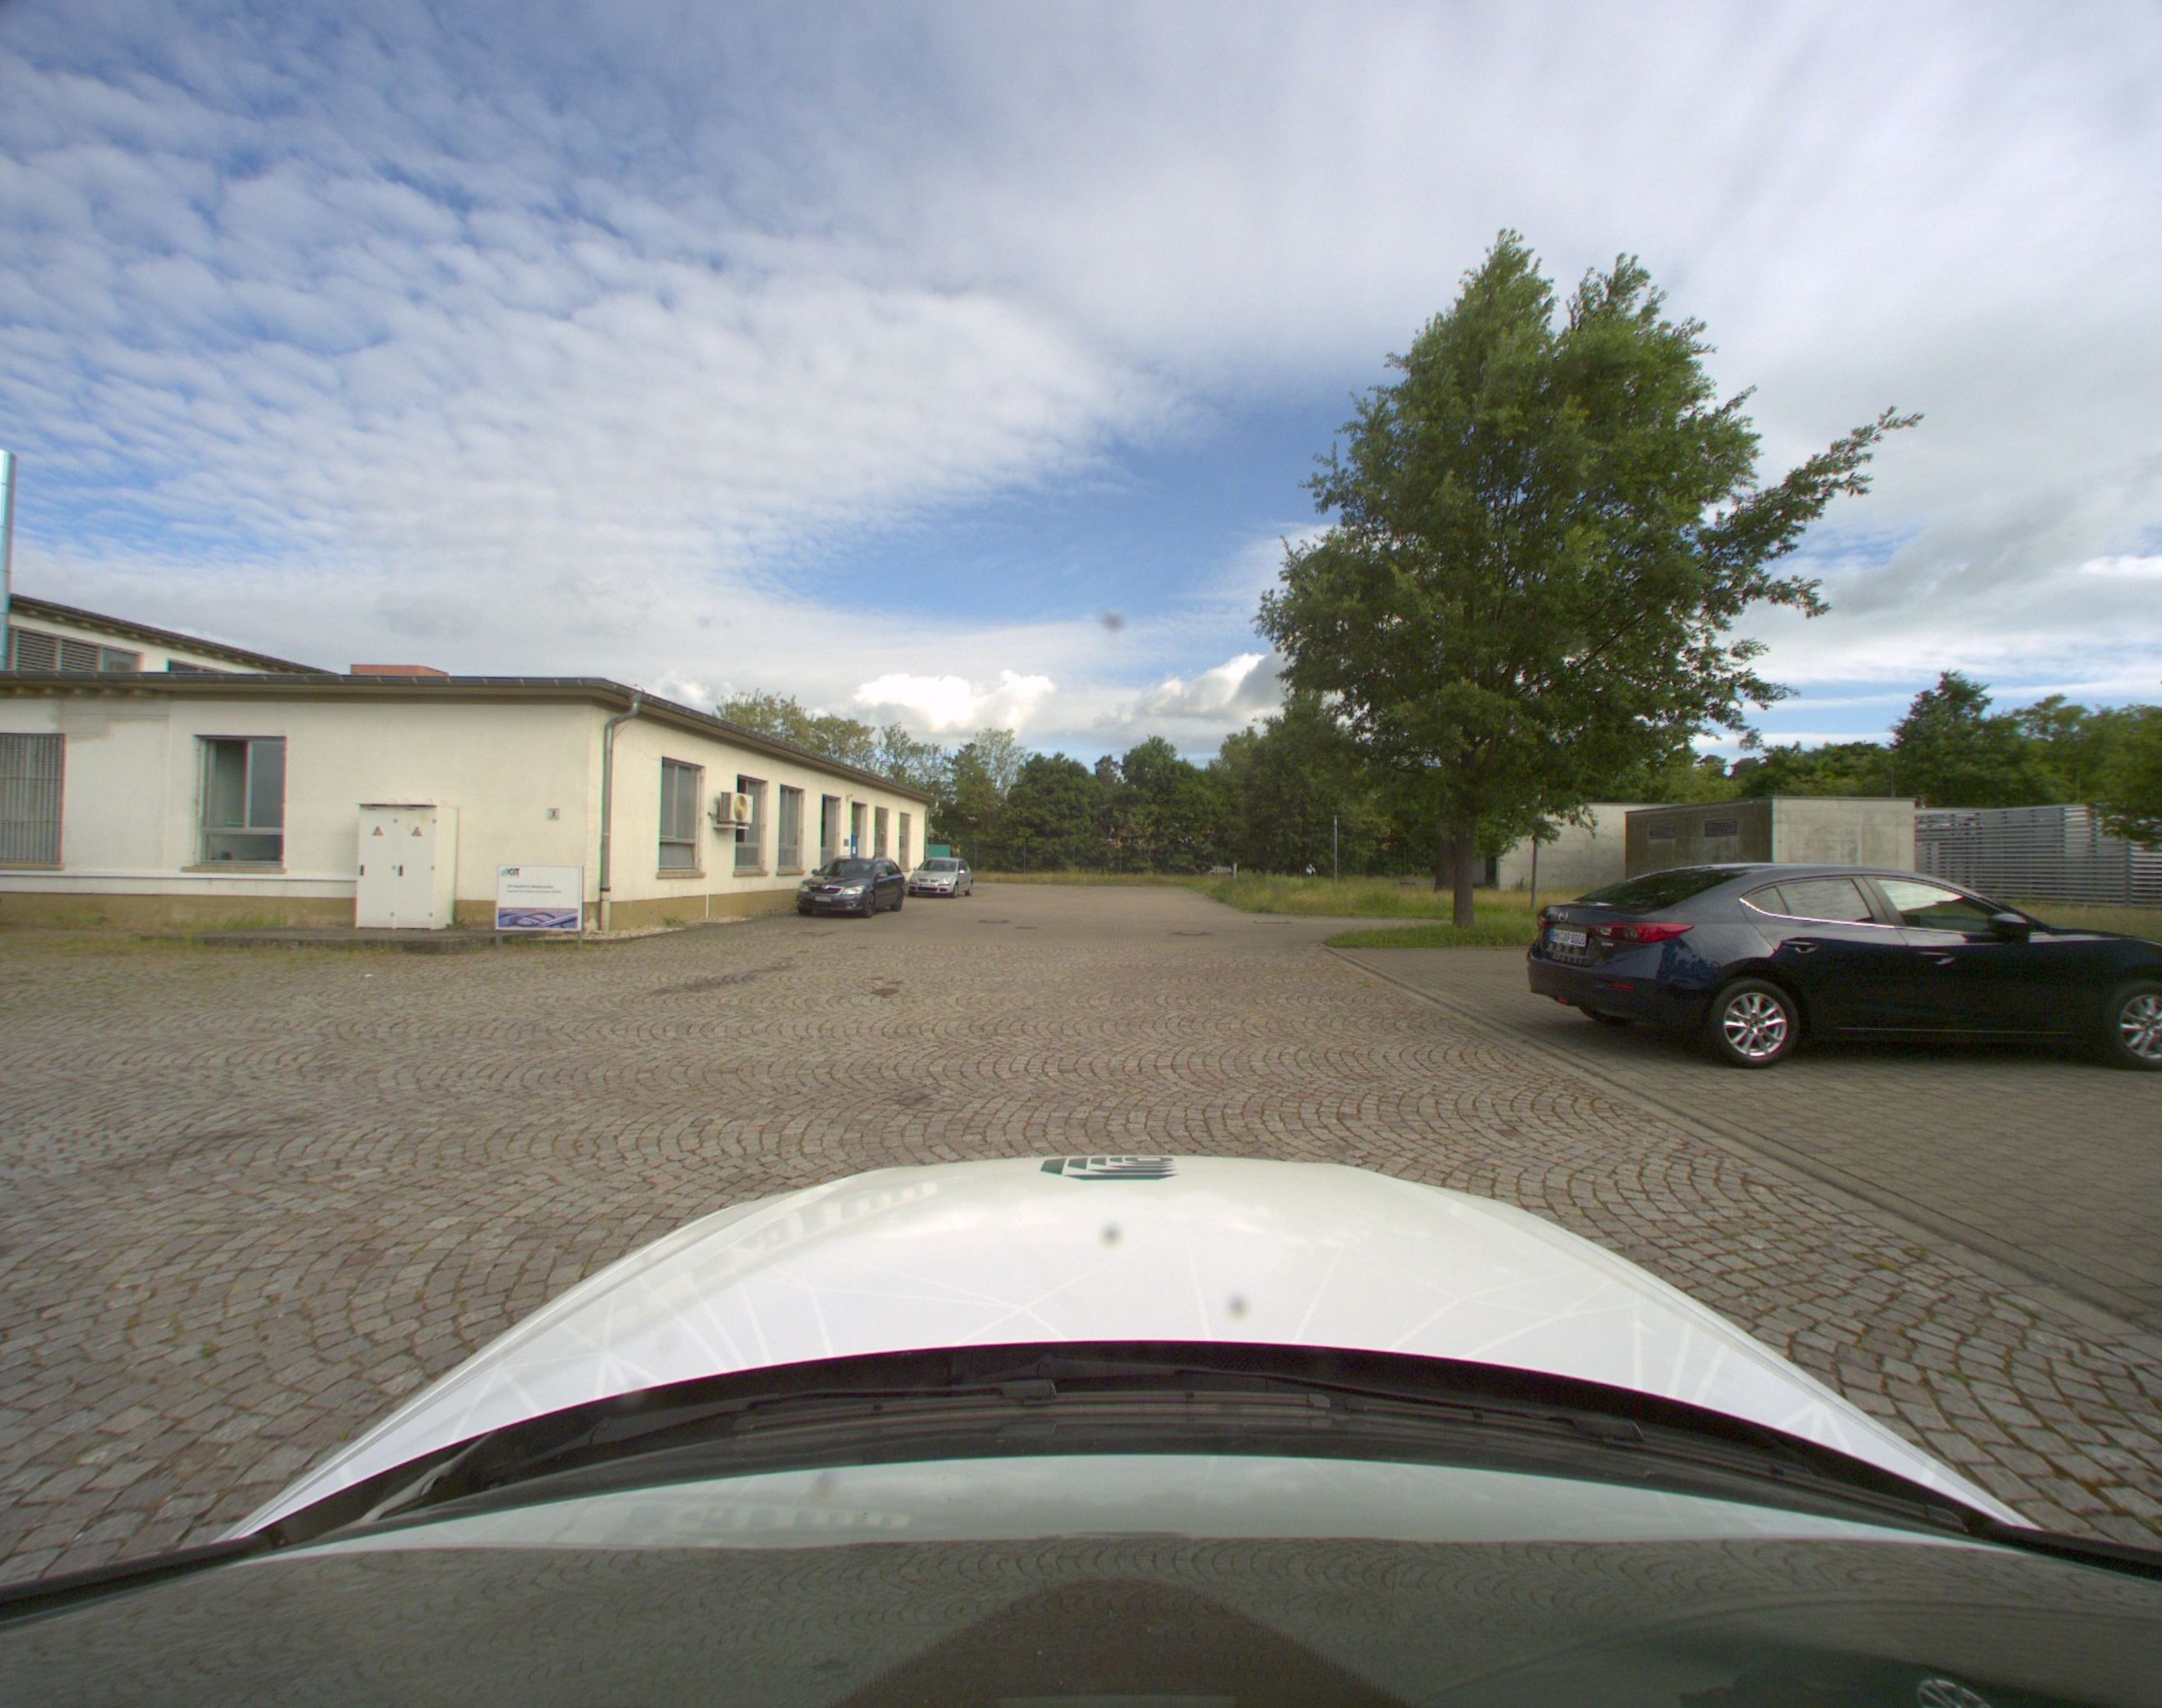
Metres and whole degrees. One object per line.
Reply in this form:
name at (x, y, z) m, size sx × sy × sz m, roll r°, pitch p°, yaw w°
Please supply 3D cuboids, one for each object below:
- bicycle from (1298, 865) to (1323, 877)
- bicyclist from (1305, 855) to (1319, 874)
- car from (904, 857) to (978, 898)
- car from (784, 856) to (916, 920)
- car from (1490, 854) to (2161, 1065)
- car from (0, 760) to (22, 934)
bicycle at (15.372, 1.116, 54.526) m, size 1.510 × 0.791 × 0.588 m, roll 1°, pitch -1°, yaw 2°
bicyclist at (15.470, 0.697, 54.520) m, size 0.766 × 1.206 × 0.588 m, roll 1°, pitch -1°, yaw 3°
car at (-5.274, 0.843, 31.196) m, size 1.917 × 1.439 × 4.370 m, roll 1°, pitch 0°, yaw 2°
car at (-5.869, 0.804, 21.383) m, size 1.917 × 1.461 × 4.813 m, roll 1°, pitch 0°, yaw 2°
car at (6.041, 0.749, 6.640) m, size 4.445 × 1.447 × 1.945 m, roll -1°, pitch -1°, yaw 2°
car at (-17.283, -0.103, 9.699) m, size 1.983 × 2.582 × 5.407 m, roll 1°, pitch 0°, yaw 6°
